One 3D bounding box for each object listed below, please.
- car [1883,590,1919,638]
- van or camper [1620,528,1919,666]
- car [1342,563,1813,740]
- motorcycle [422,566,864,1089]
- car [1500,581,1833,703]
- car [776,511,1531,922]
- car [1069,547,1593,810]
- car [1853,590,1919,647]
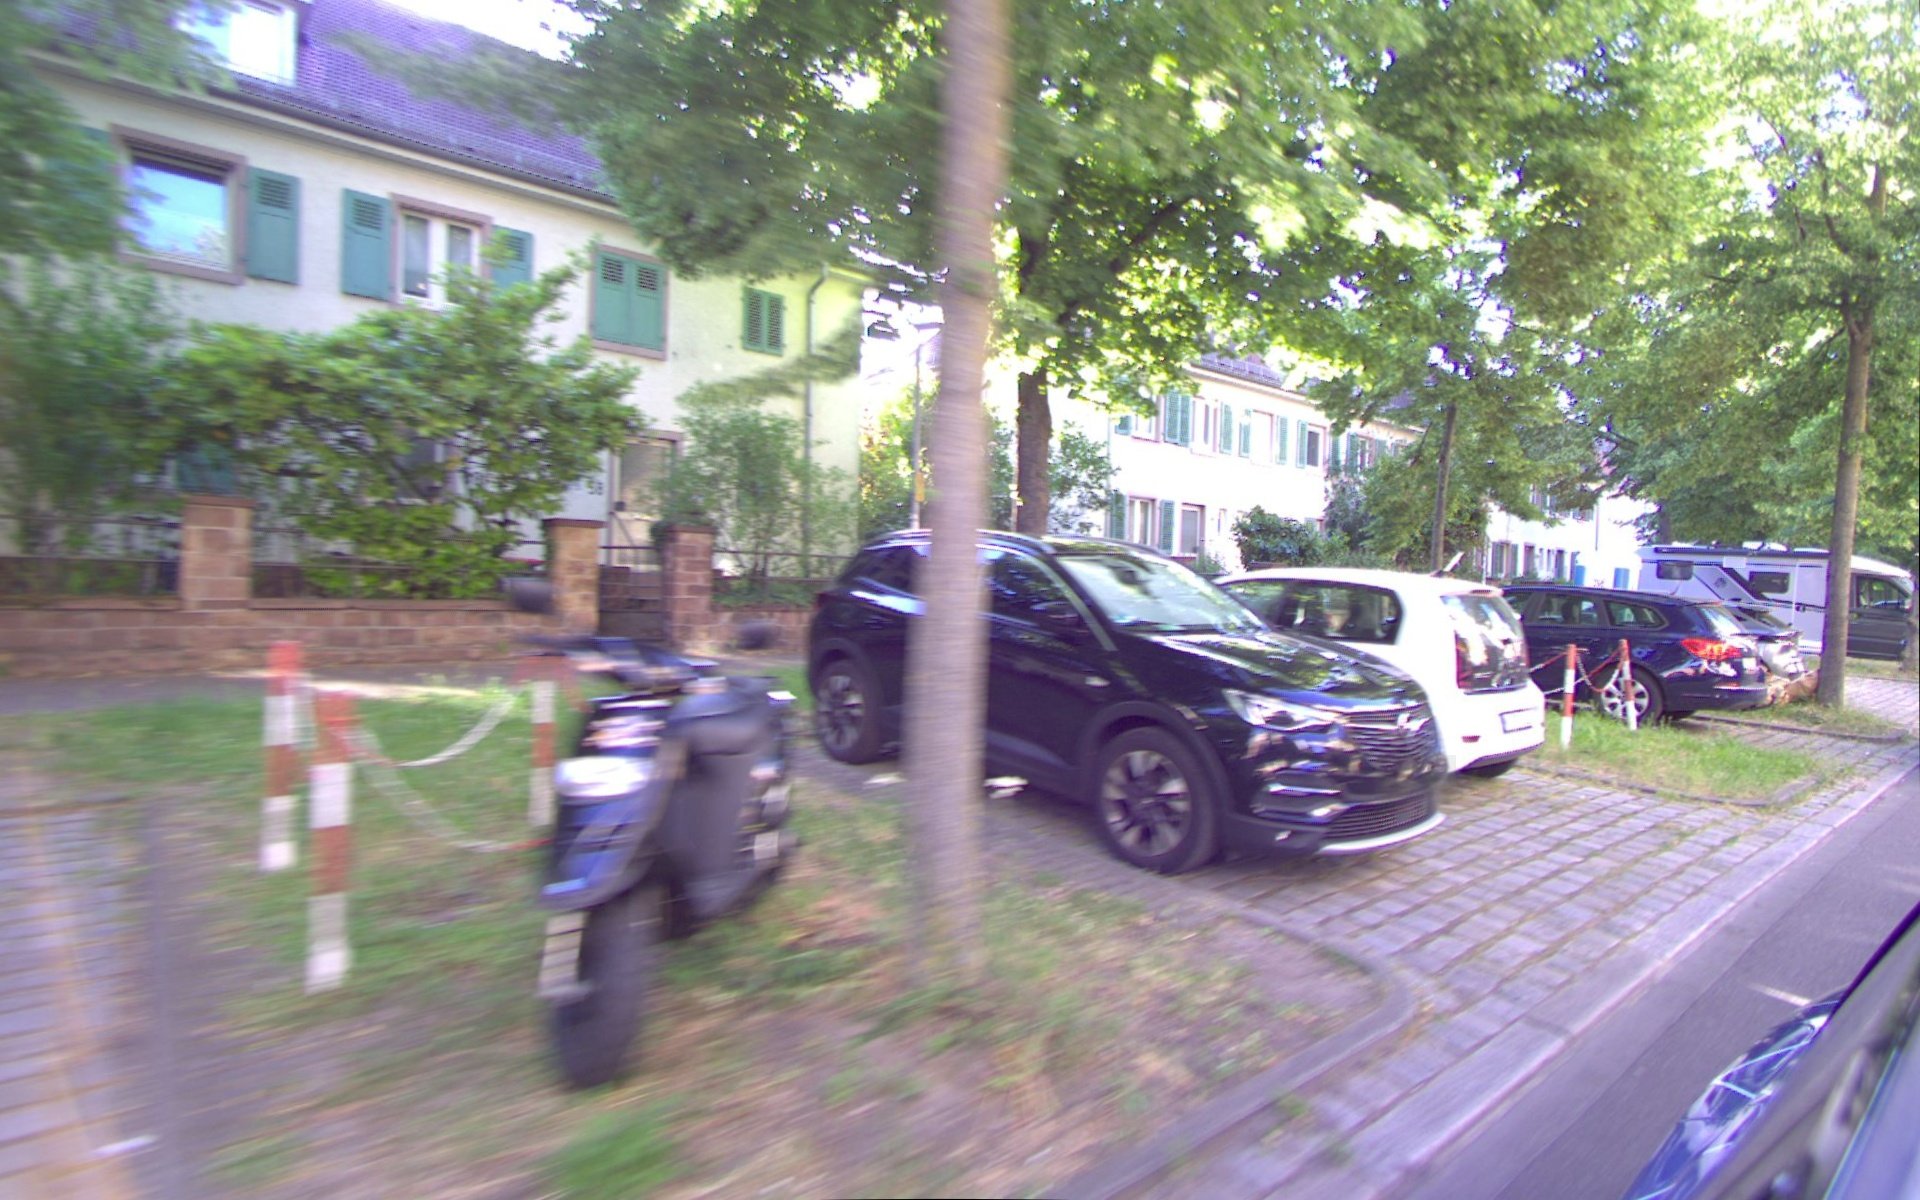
[{"bbox_3d":[40.717,0.642,41.335,1.960,1.905,4.005,1,2,-31],"label":"car"},{"bbox_3d":[20.160,-0.171,23.863,2.385,2.939,7.264,-1,3,-40],"label":"van or camper"},{"bbox_3d":[7.170,0.449,12.213,1.721,1.495,4.471,1,4,-39],"label":"car"},{"bbox_3d":[-0.853,0.511,3.304,0.725,1.212,1.774,2,2,5],"label":"motorcycle"},{"bbox_3d":[11.093,0.543,16.071,1.967,1.537,3.992,-1,3,-43],"label":"car"},{"bbox_3d":[0.821,0.322,6.319,1.895,1.627,4.342,0,4,-41],"label":"car"},{"bbox_3d":[2.716,0.414,7.976,1.664,1.493,3.456,1,3,-40],"label":"car"},{"bbox_3d":[32.893,0.682,34.025,1.964,1.836,3.996,1,2,-40],"label":"car"}]
